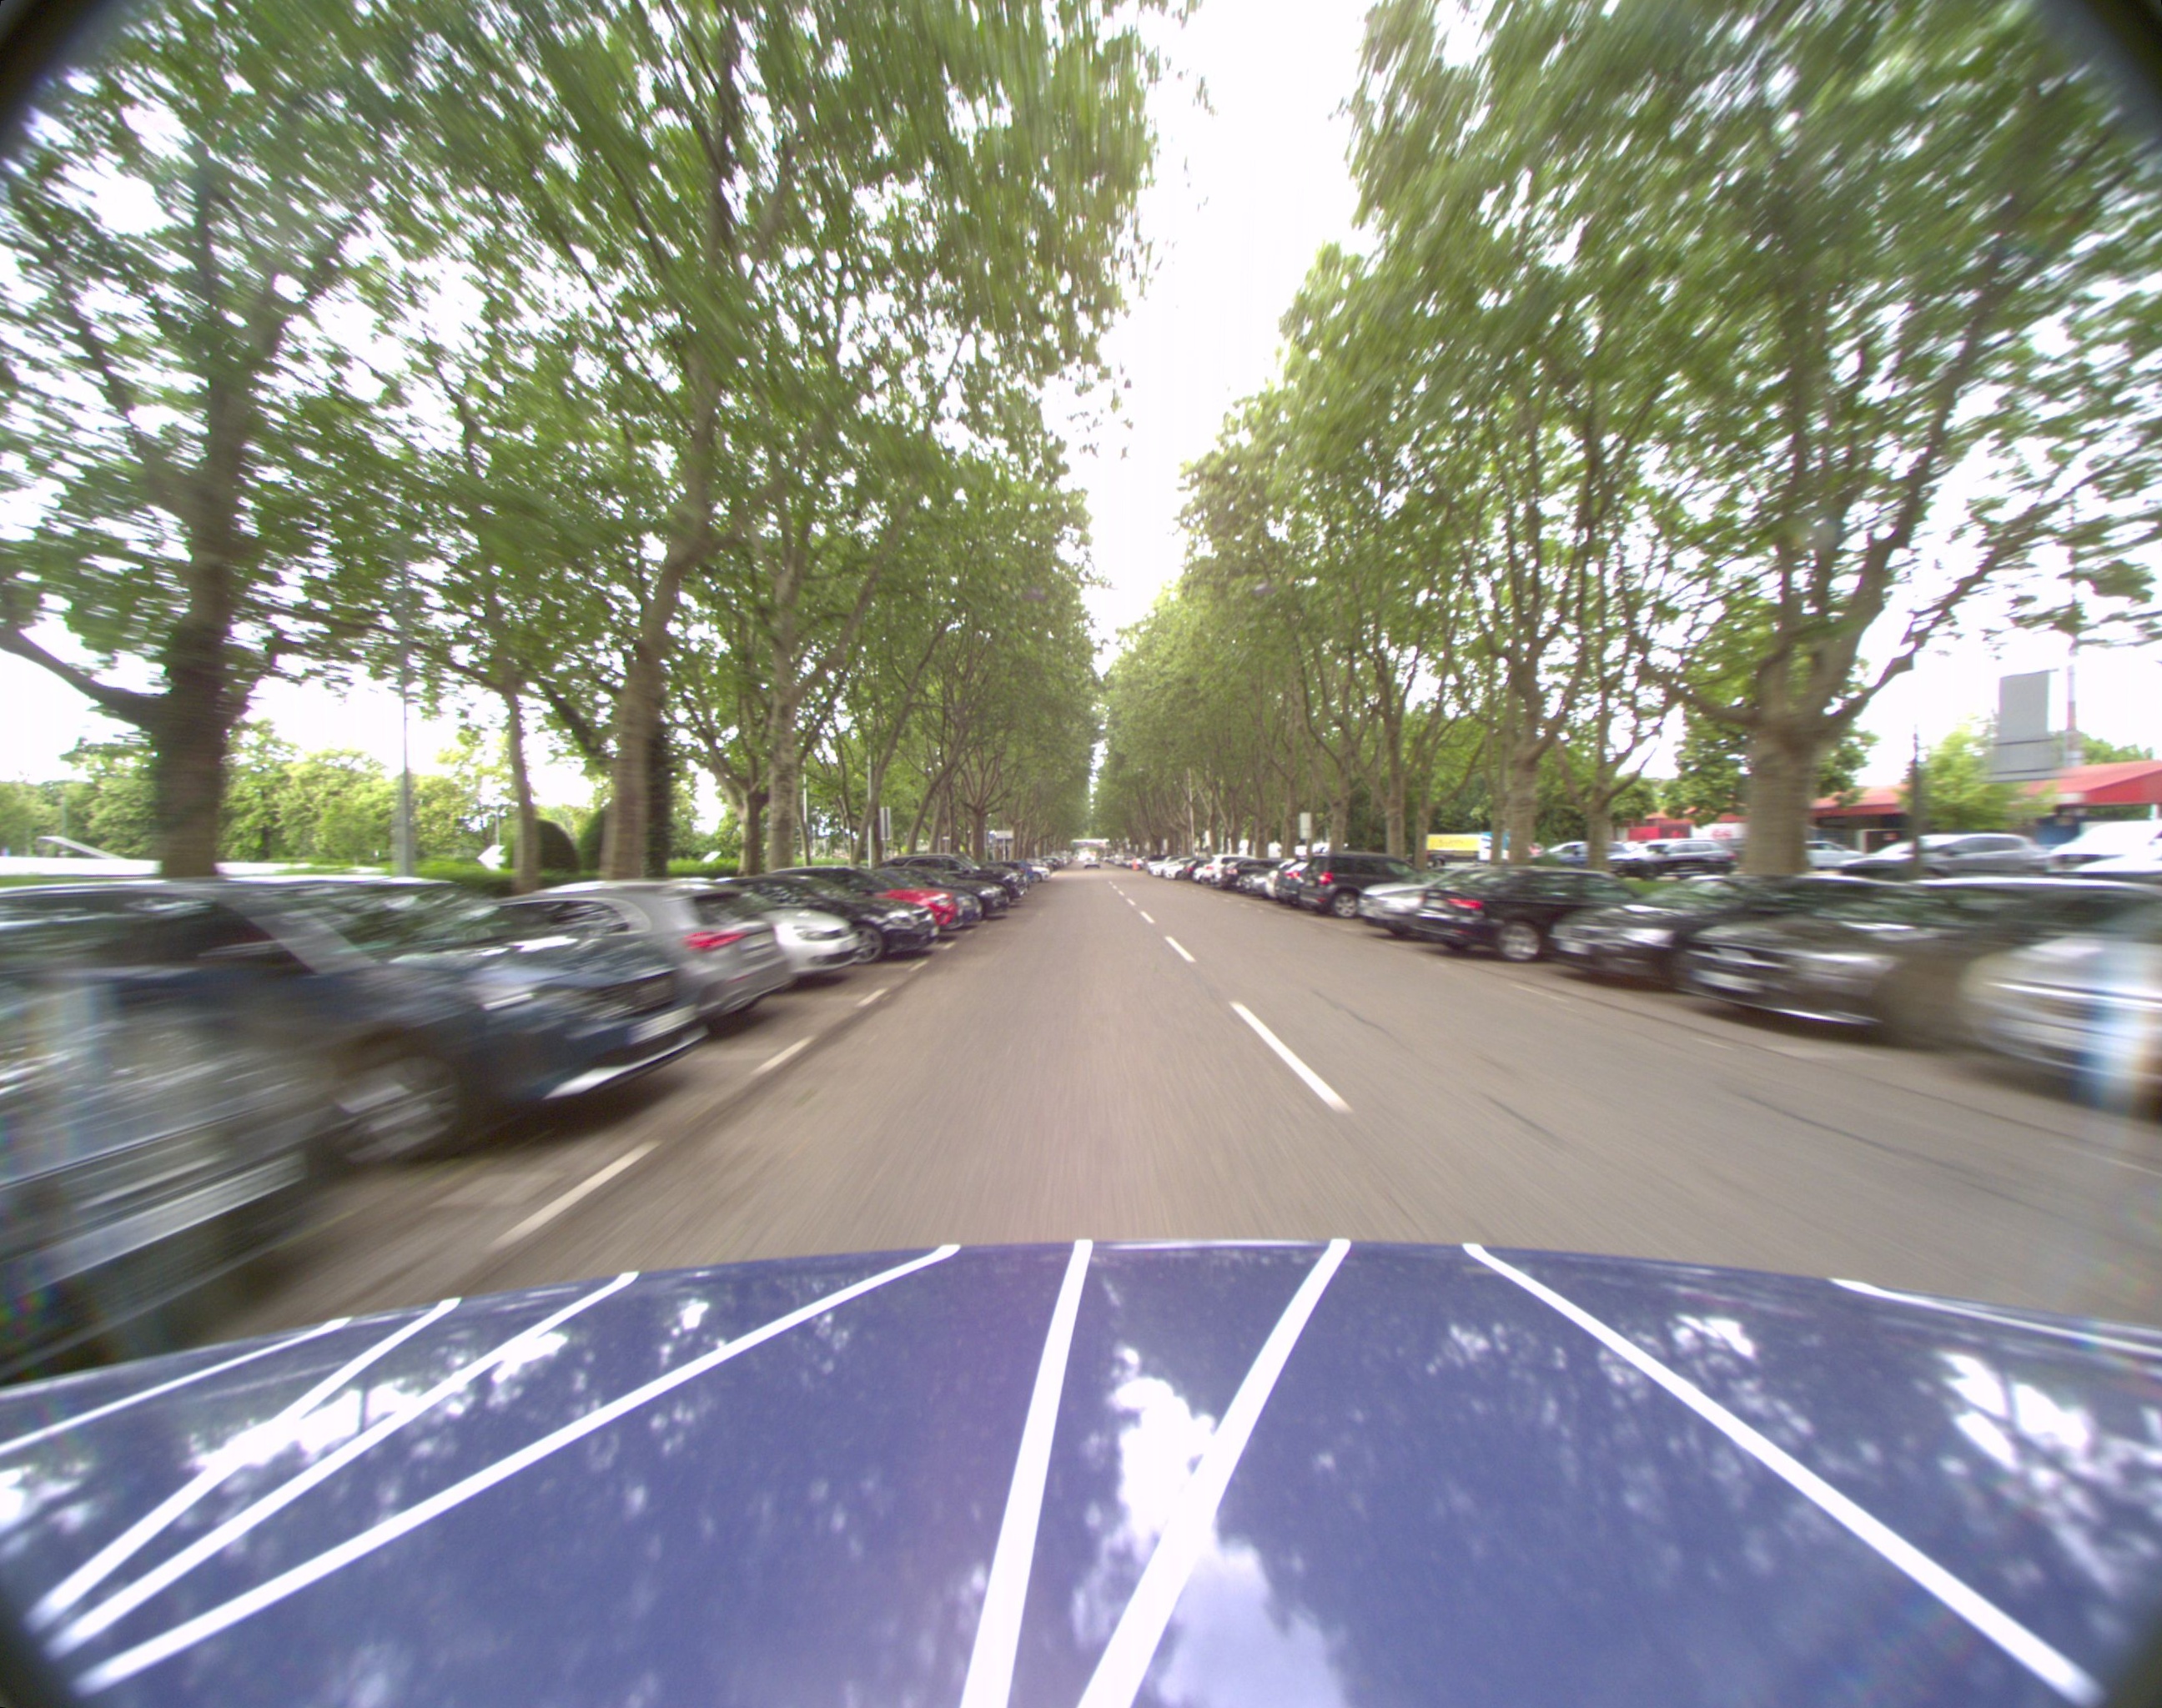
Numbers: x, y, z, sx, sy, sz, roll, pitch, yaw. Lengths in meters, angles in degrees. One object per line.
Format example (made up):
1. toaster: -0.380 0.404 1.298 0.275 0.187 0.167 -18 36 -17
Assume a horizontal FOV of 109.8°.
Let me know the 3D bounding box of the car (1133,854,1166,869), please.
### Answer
1. car: 7.541 0.850 84.389 3.565 1.569 1.847 1 0 2

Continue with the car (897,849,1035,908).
1. car: -4.041 0.848 27.264 4.506 1.855 2.048 -2 0 2

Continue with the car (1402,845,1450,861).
1. car: 34.775 -0.086 76.709 3.998 1.478 1.800 -2 1 -4

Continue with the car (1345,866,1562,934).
1. car: 8.167 0.984 16.920 3.941 1.357 1.827 1 0 -1

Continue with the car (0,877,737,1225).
1. car: -4.932 1.074 4.811 4.602 1.629 1.873 -2 0 2

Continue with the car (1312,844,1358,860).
1. car: 34.504 -0.271 103.265 5.466 1.986 2.475 -2 1 -2

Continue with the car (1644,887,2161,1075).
1. car: 8.003 1.023 6.788 4.474 1.340 1.902 1 0 2

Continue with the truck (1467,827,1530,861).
1. truck: 35.339 -0.857 64.424 3.997 2.701 2.376 -2 1 -1

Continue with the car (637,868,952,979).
1. car: -4.525 1.076 12.459 4.356 1.493 1.926 -2 0 3

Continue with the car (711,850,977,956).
1. car: -4.545 0.918 15.046 4.505 1.786 2.048 -2 0 4

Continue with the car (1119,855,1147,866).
1. car: 7.437 0.916 109.262 4.039 1.518 1.800 1 -1 2

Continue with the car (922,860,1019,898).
1. car: -5.026 1.120 34.973 4.207 1.509 1.785 -2 0 -3

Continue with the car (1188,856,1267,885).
1. car: 8.073 0.888 42.079 3.996 1.445 1.855 -2 1 1

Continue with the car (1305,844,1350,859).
1. car: 35.000 -0.331 107.969 5.466 2.009 2.393 -2 1 -2

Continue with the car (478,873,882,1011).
1. car: -5.128 1.109 10.062 4.355 1.493 1.926 -2 0 7

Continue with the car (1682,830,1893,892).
1. car: 23.011 0.210 24.896 4.955 1.786 2.182 -2 1 -2

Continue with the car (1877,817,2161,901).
1. car: 22.789 0.086 18.349 4.955 1.786 2.182 -2 1 -2

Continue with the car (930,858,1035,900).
1. car: -4.163 1.052 32.732 4.206 1.510 1.785 -3 1 0

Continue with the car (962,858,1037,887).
1. car: -4.507 1.015 42.454 4.027 1.439 1.913 -2 0 -5

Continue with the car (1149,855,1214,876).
1. car: 7.195 0.803 54.493 4.419 1.416 1.776 1 0 -1

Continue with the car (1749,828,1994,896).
1. car: 22.862 0.216 22.129 4.955 1.786 2.183 -1 0 -2

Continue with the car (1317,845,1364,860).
1. car: 34.364 -0.167 100.754 5.466 1.839 1.999 -2 1 -2

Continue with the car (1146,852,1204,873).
1. car: 7.606 0.657 61.770 4.420 1.616 2.047 1 0 -3

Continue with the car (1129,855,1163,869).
1. car: 7.390 0.855 86.851 3.847 1.529 1.676 1 0 2

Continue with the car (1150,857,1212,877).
1. car: 7.460 0.954 57.046 4.419 1.387 1.724 1 0 -2

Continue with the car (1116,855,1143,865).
1. car: 7.270 0.935 114.605 3.996 1.422 2.001 1 -1 2

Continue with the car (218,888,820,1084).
1. car: -5.076 1.162 7.360 4.357 1.405 1.926 -2 0 1

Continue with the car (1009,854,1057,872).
1. car: -4.969 0.912 79.085 4.832 1.497 2.000 -3 0 -2

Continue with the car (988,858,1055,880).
1. car: -4.267 1.060 54.873 4.598 1.409 1.719 -2 0 4

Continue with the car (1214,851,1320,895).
1. car: 7.768 0.790 32.007 3.996 1.672 1.855 -2 1 1

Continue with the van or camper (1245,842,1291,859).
1. van or camper: 24.131 -0.488 98.301 5.299 2.087 2.244 -2 1 -2

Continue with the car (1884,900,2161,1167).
1. car: 8.089 1.036 4.594 4.474 1.361 1.880 1 0 0

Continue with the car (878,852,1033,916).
1. car: -3.897 0.917 24.236 4.506 1.786 2.047 -2 0 0

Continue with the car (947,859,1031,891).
1. car: -4.750 1.097 39.796 4.207 1.447 1.785 -2 0 -3

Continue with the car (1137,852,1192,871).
1. car: 7.043 0.640 64.706 4.419 1.616 2.047 1 0 -2

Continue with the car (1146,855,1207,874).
1. car: 7.420 0.792 59.251 4.420 1.387 2.047 1 0 -3

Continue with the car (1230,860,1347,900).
1. car: 7.982 0.971 29.465 3.997 1.361 1.843 -2 1 -1

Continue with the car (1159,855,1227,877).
1. car: 7.591 0.827 51.922 4.418 1.409 1.784 1 0 2

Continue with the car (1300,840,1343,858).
1. car: 34.970 -0.709 110.656 5.466 2.502 2.393 -2 1 -2

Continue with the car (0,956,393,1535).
1. car: -4.864 1.176 2.241 4.050 1.372 1.744 -2 0 1

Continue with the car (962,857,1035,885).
1. car: -4.841 0.999 44.945 4.025 1.439 1.784 -2 0 1

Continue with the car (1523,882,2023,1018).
1. car: 8.214 1.101 9.340 4.475 1.358 1.859 1 0 -1

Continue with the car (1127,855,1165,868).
1. car: 7.837 0.922 92.120 4.575 1.425 2.090 1 0 2
